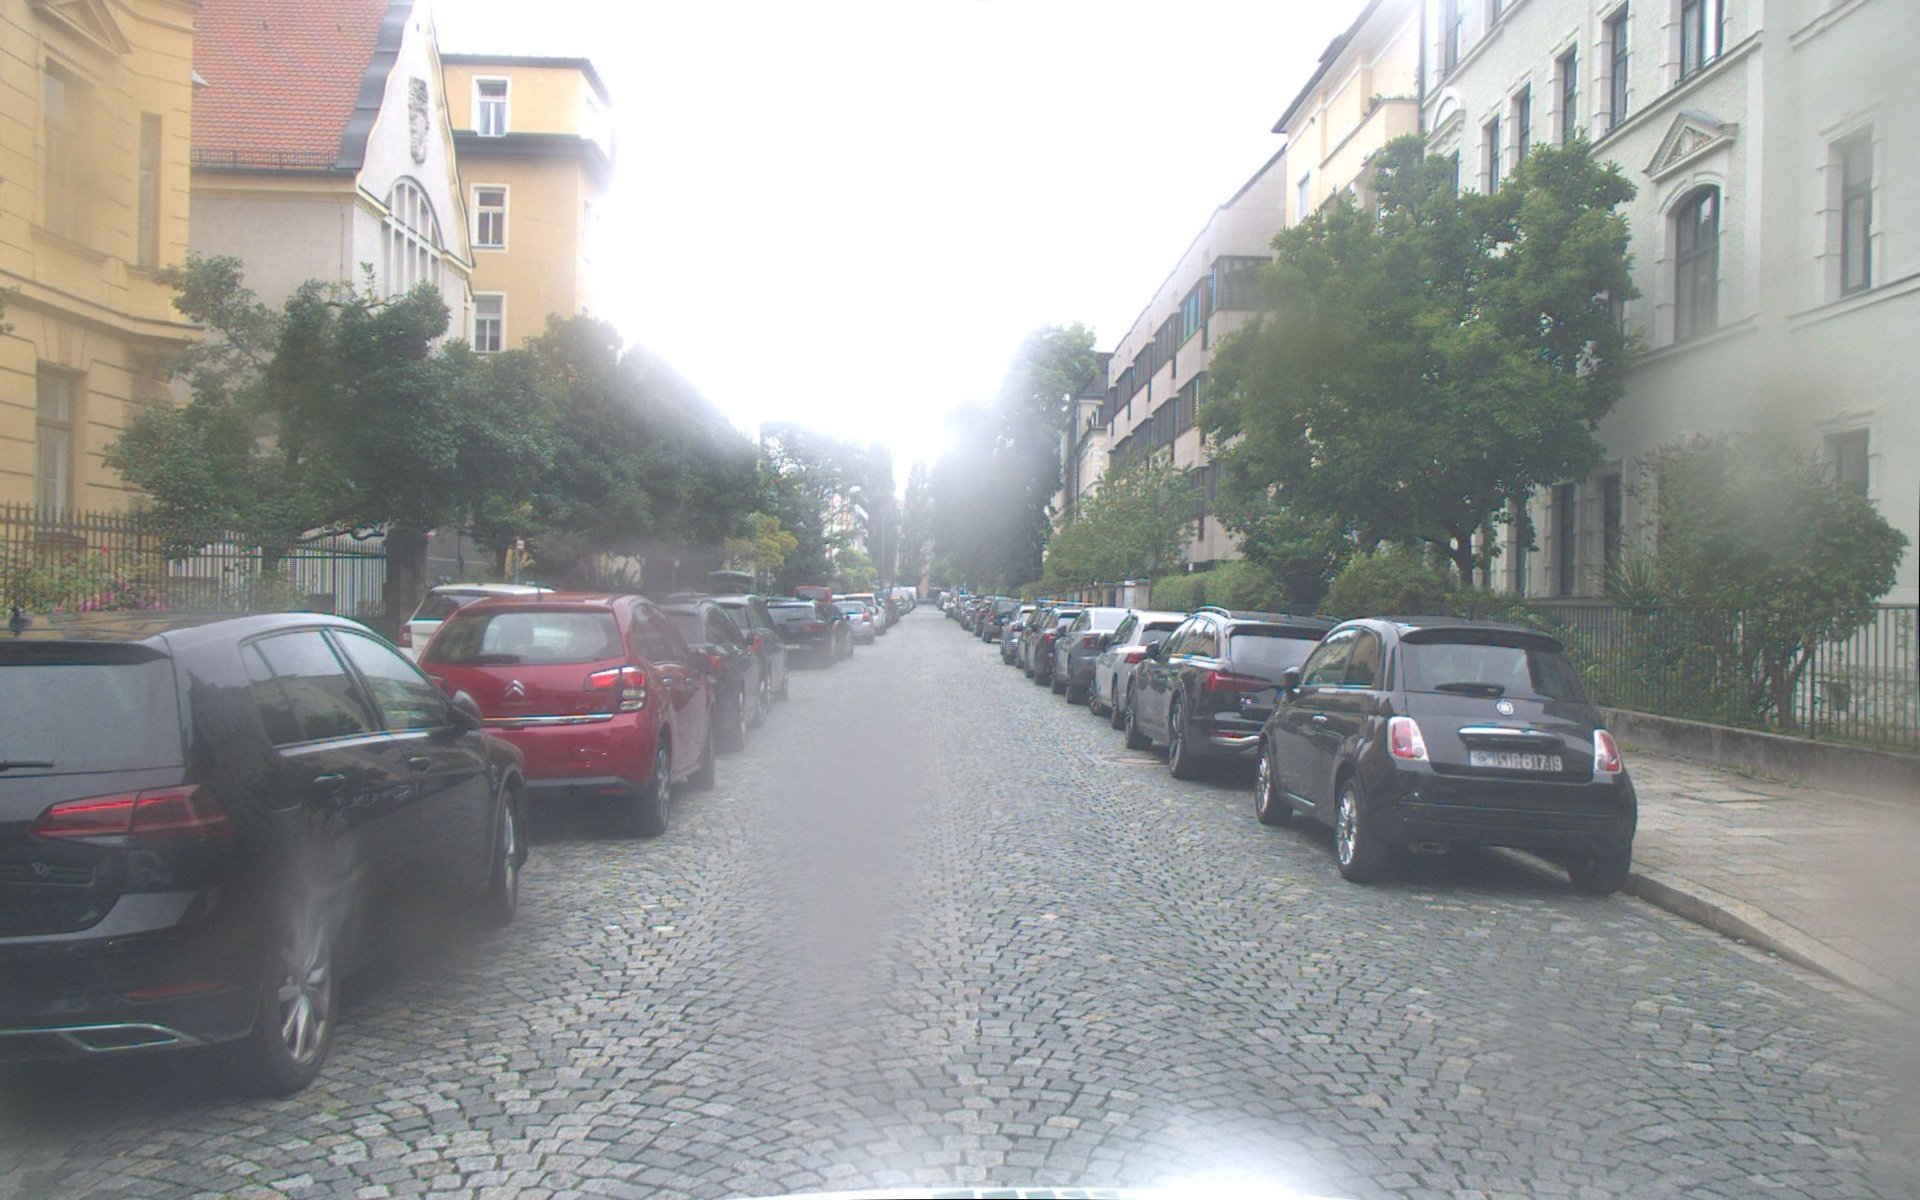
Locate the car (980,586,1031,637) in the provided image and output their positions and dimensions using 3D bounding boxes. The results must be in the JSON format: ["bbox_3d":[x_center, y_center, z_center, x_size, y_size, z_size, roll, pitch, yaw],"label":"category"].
[{"bbox_3d":[1.722,0.419,63.601,1.586,1.781,3.885,3,0,-2],"label":"car"}]

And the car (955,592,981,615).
[{"bbox_3d":[0.595,0.247,121.325,1.800,1.516,4.421,3,0,0],"label":"car"}]

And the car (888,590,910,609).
[{"bbox_3d":[-5.426,-0.021,146.672,1.836,1.607,4.253,-2,0,-3],"label":"car"}]

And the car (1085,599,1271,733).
[{"bbox_3d":[2.734,0.777,21.677,1.720,1.485,4.479,3,0,-1],"label":"car"}]

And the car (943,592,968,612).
[{"bbox_3d":[-0.385,0.156,139.005,1.836,1.529,4.508,3,0,-3],"label":"car"}]

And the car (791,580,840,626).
[{"bbox_3d":[-6.665,0.113,76.627,1.954,1.964,5.328,2,0,-2],"label":"car"}]

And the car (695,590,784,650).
[{"bbox_3d":[-5.793,0.499,43.983,1.740,1.441,4.561,2,0,0],"label":"car"}]

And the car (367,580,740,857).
[{"bbox_3d":[-2.680,0.696,11.893,1.804,1.613,4.190,-1,0,-3],"label":"car"}]

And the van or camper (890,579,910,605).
[{"bbox_3d":[-6.527,-0.847,179.598,1.953,2.698,3.999,-2,0,-1],"label":"van or camper"}]

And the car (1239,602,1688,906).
[{"bbox_3d":[3.028,0.836,10.745,1.633,1.534,3.684,3,0,-2],"label":"car"}]

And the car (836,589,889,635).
[{"bbox_3d":[-4.136,0.496,71.077,1.965,1.840,5.174,-1,0,0],"label":"car"}]

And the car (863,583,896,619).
[{"bbox_3d":[-4.627,0.048,95.630,1.835,1.950,4.825,-2,0,-2],"label":"car"}]

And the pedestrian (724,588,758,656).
[{"bbox_3d":[-5.481,0.543,41.401,0.750,1.679,0.582,1,0,0],"label":"pedestrian"}]

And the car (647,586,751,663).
[{"bbox_3d":[-5.737,0.510,36.825,1.705,1.563,4.465,2,0,-2],"label":"car"}]

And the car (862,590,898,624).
[{"bbox_3d":[-4.407,0.381,90.517,1.828,1.765,4.400,-2,0,-4],"label":"car"}]

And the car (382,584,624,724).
[{"bbox_3d":[-5.476,0.595,20.414,1.804,1.491,4.388,2,0,-1],"label":"car"}]

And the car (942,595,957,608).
[{"bbox_3d":[-1.248,0.177,200.684,1.753,1.547,3.999,1,0,-1],"label":"car"}]

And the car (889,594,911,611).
[{"bbox_3d":[-5.993,0.214,164.750,1.834,1.607,4.209,3,0,2],"label":"car"}]

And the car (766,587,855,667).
[{"bbox_3d":[-3.271,0.563,36.809,1.704,1.631,4.535,-1,0,-2],"label":"car"}]

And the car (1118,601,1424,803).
[{"bbox_3d":[2.780,0.832,16.011,1.866,1.529,5.104,3,0,-1],"label":"car"}]

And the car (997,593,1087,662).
[{"bbox_3d":[2.030,0.653,42.127,1.953,1.579,4.985,2,0,0],"label":"car"}]

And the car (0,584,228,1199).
[{"bbox_3d":[-2.454,0.746,1.211,1.773,1.525,4.510,-1,0,1],"label":"car"}]

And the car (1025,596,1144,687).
[{"bbox_3d":[2.318,0.737,32.053,1.782,1.514,5.049,3,0,-1],"label":"car"}]

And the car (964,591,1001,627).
[{"bbox_3d":[1.192,0.463,88.340,1.835,1.765,4.891,3,0,0],"label":"car"}]

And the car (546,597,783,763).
[{"bbox_3d":[-2.970,0.729,17.669,1.832,1.496,5.131,-1,0,-3],"label":"car"}]

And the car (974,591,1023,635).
[{"bbox_3d":[1.659,0.527,72.060,1.823,1.731,4.812,4,0,-1],"label":"car"}]

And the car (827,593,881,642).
[{"bbox_3d":[-3.654,0.577,57.719,1.679,1.589,4.389,-1,0,-1],"label":"car"}]

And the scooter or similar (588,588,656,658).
[{"bbox_3d":[-7.781,0.503,38.209,1.040,1.550,2.634,0,0,-1],"label":"scooter or similar"}]

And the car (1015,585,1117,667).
[{"bbox_3d":[2.314,0.546,37.258,1.855,1.682,4.292,2,0,-2],"label":"car"}]

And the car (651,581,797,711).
[{"bbox_3d":[-3.182,0.579,22.999,1.705,1.613,4.188,-1,0,-4],"label":"car"}]

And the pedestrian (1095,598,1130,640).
[{"bbox_3d":[5.738,0.697,62.294,1.192,1.519,1.129,-2,0,1],"label":"pedestrian"}]

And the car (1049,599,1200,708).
[{"bbox_3d":[2.568,0.790,26.925,1.844,1.514,4.813,3,0,-1],"label":"car"}]

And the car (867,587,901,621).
[{"bbox_3d":[-4.687,0.238,102.088,1.953,1.950,5.175,-3,0,-2],"label":"car"}]

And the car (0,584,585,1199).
[{"bbox_3d":[-2.812,0.786,6.344,1.781,1.535,4.640,-3,0,-2],"label":"car"}]
